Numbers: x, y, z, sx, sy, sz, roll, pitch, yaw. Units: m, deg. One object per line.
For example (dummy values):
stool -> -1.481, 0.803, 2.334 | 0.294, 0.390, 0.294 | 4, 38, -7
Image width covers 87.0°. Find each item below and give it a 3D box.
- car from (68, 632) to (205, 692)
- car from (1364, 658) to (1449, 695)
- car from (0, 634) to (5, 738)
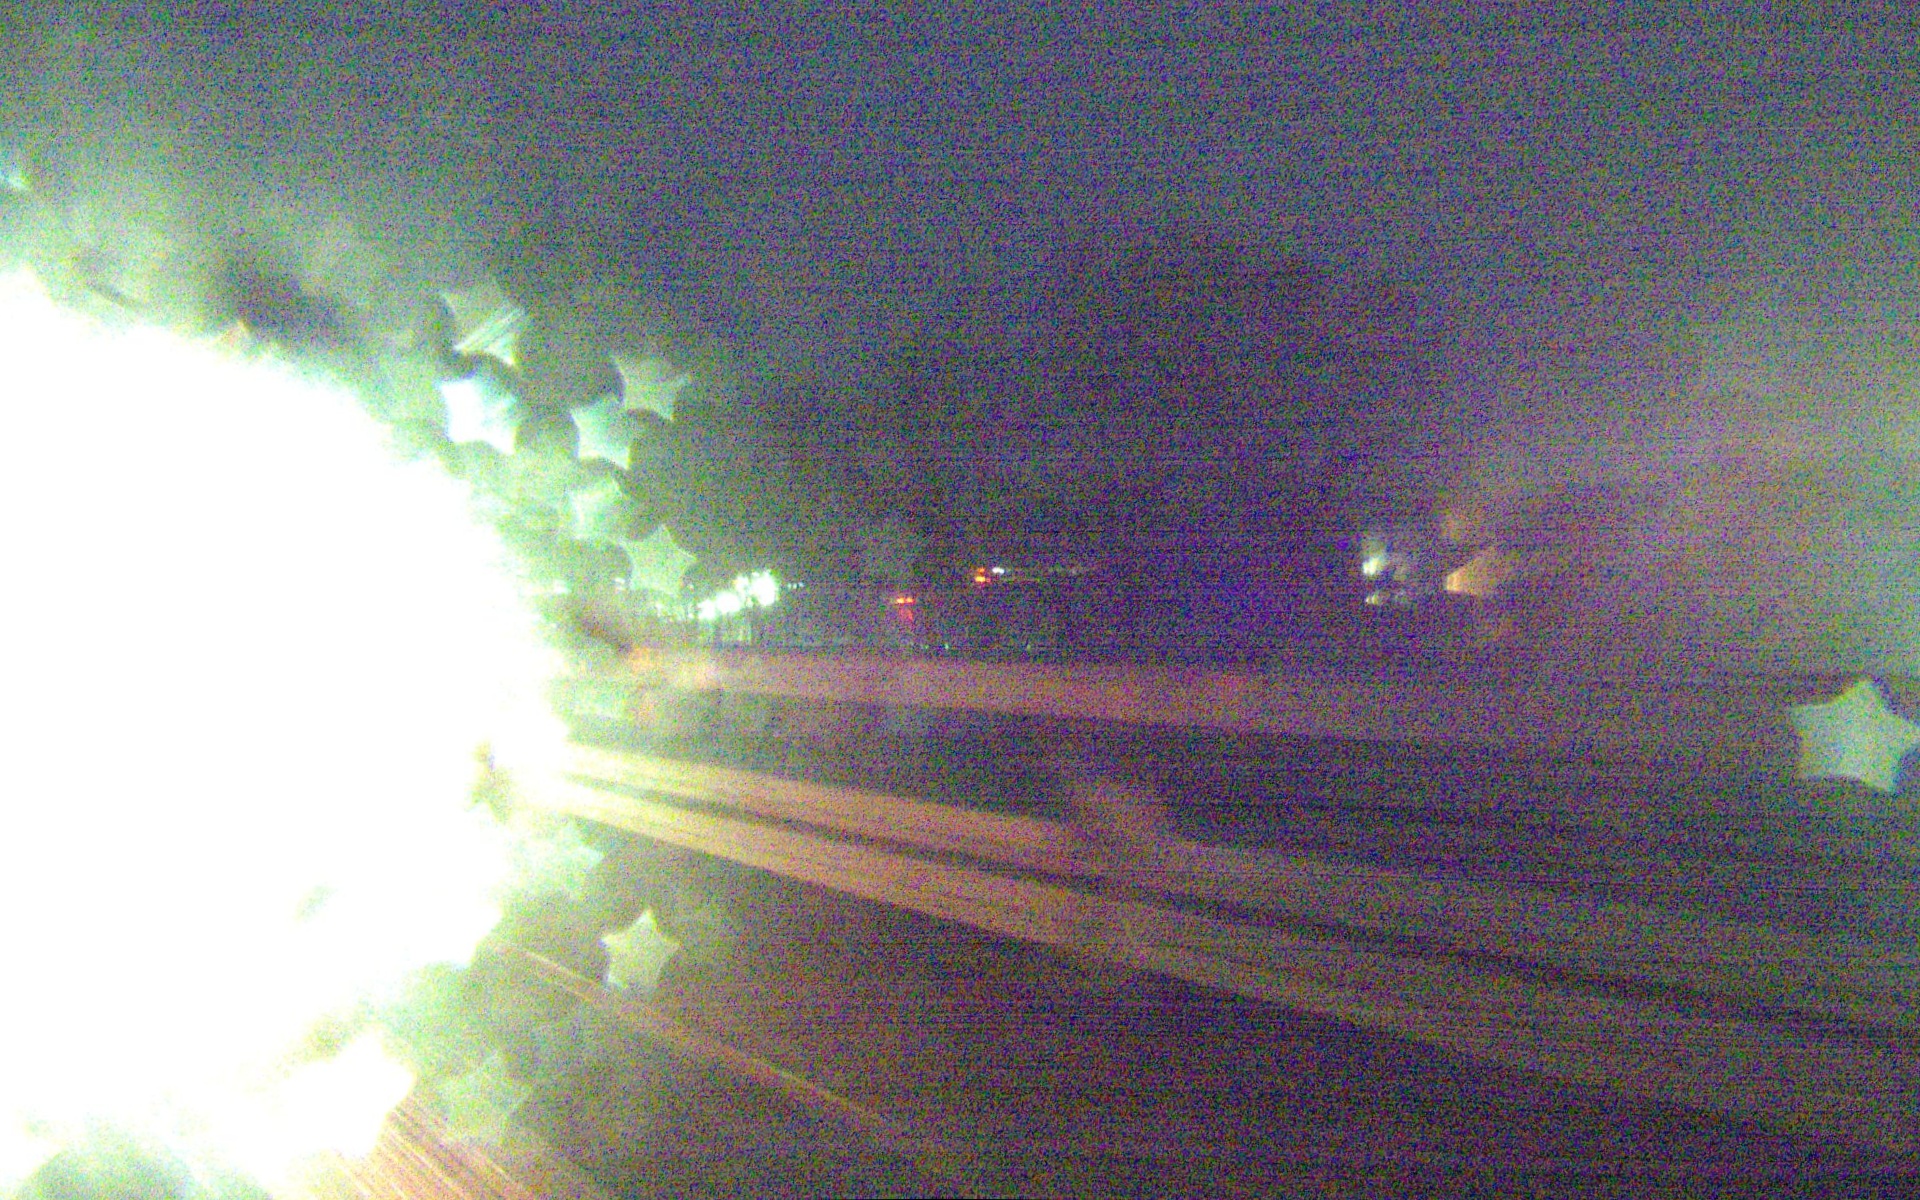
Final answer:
car -> -20.400, 1.488, 25.261 | 1.731, 1.322, 4.098 | 0, -2, -25
car -> 24.774, 4.216, 56.217 | 4.221, 1.765, 1.907 | 1, -1, 25
car -> -13.105, 1.129, 12.332 | 1.660, 1.462, 3.650 | 2, -3, -36
